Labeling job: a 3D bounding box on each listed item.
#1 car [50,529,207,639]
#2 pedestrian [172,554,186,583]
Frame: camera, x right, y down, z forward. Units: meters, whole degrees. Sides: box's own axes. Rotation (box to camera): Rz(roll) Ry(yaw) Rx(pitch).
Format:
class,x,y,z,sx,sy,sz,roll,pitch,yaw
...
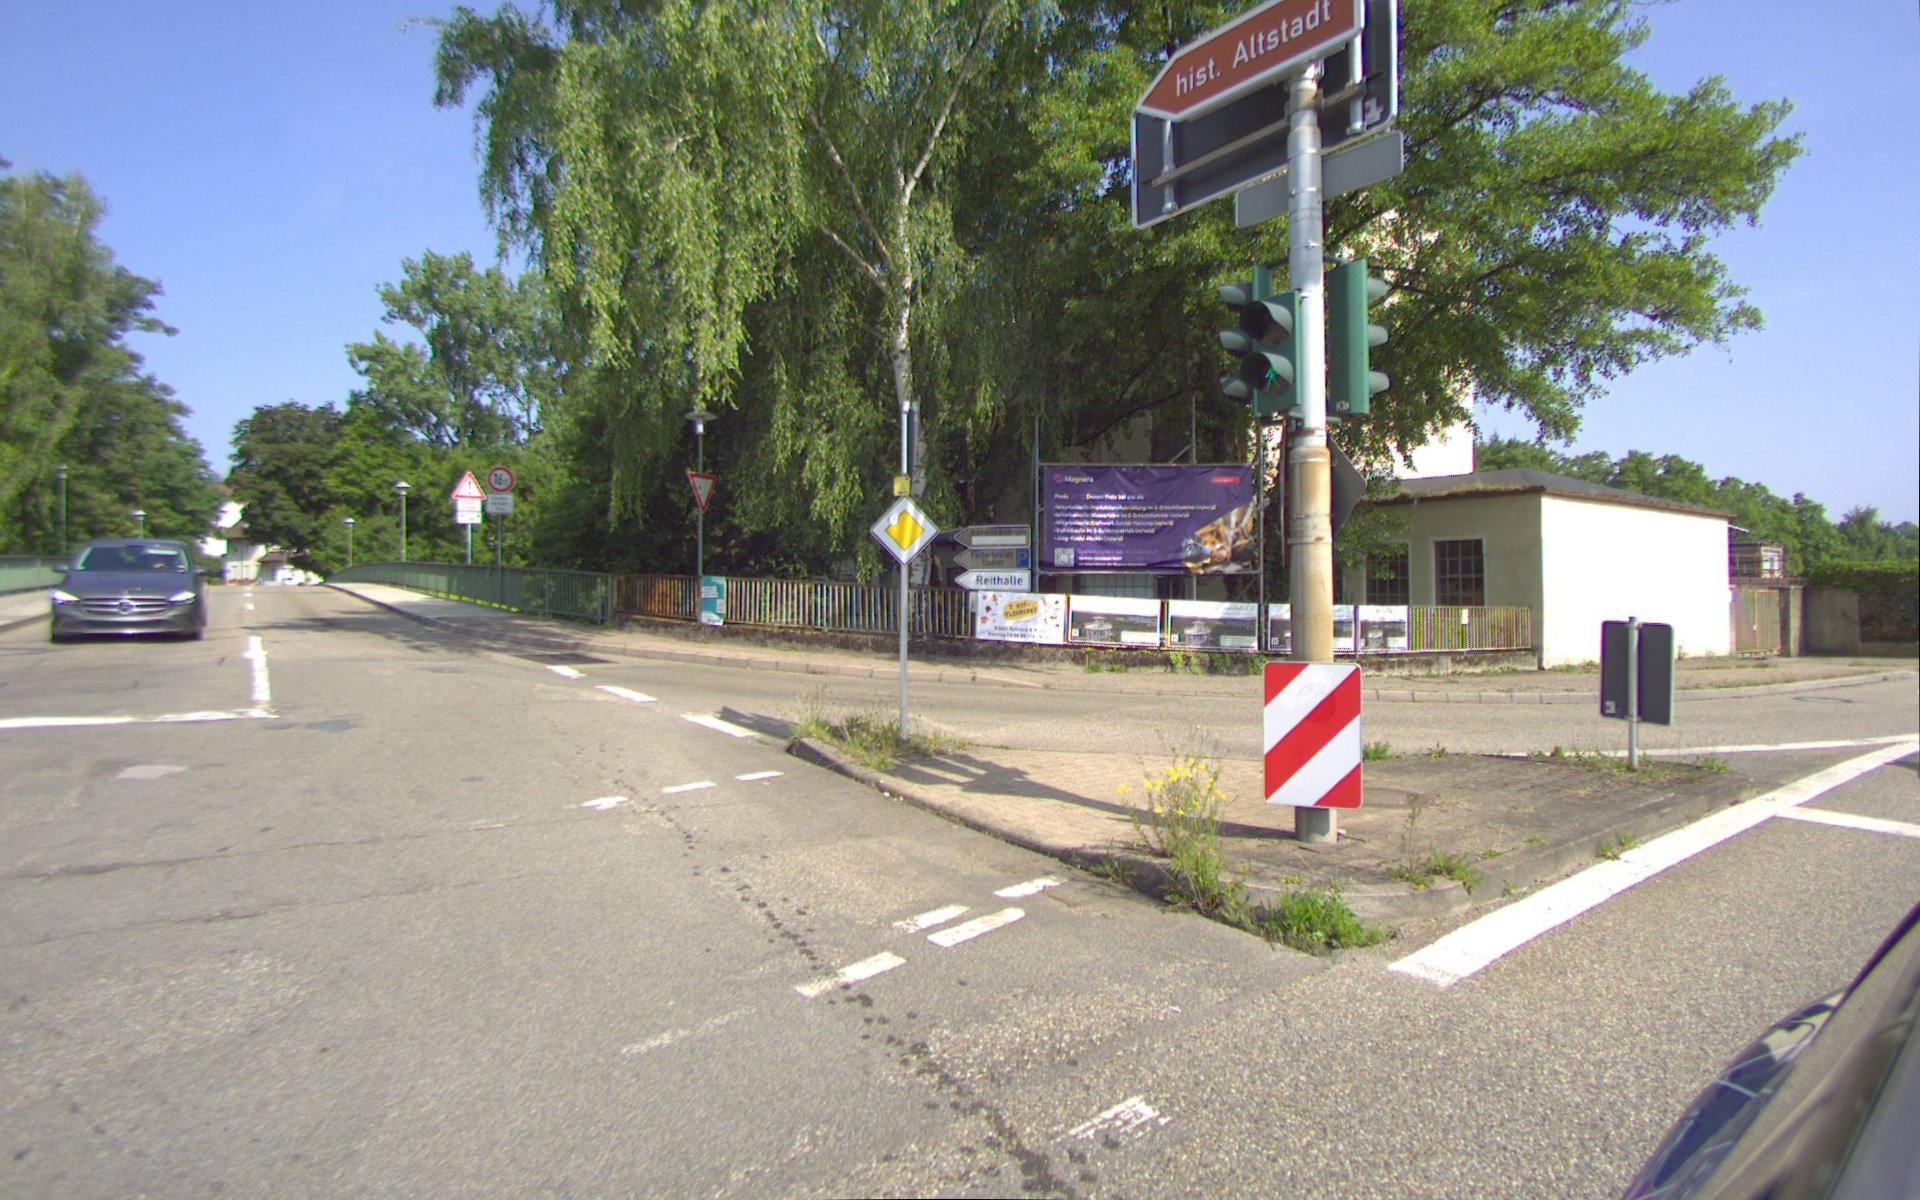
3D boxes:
class,x,y,z,sx,sy,sz,roll,pitch,yaw
car,-13.214,-0.289,16.289,1.636,1.537,4.085,0,2,-35
pedestrian,-52.651,-2.096,68.196,0.725,1.927,0.628,0,0,-41
